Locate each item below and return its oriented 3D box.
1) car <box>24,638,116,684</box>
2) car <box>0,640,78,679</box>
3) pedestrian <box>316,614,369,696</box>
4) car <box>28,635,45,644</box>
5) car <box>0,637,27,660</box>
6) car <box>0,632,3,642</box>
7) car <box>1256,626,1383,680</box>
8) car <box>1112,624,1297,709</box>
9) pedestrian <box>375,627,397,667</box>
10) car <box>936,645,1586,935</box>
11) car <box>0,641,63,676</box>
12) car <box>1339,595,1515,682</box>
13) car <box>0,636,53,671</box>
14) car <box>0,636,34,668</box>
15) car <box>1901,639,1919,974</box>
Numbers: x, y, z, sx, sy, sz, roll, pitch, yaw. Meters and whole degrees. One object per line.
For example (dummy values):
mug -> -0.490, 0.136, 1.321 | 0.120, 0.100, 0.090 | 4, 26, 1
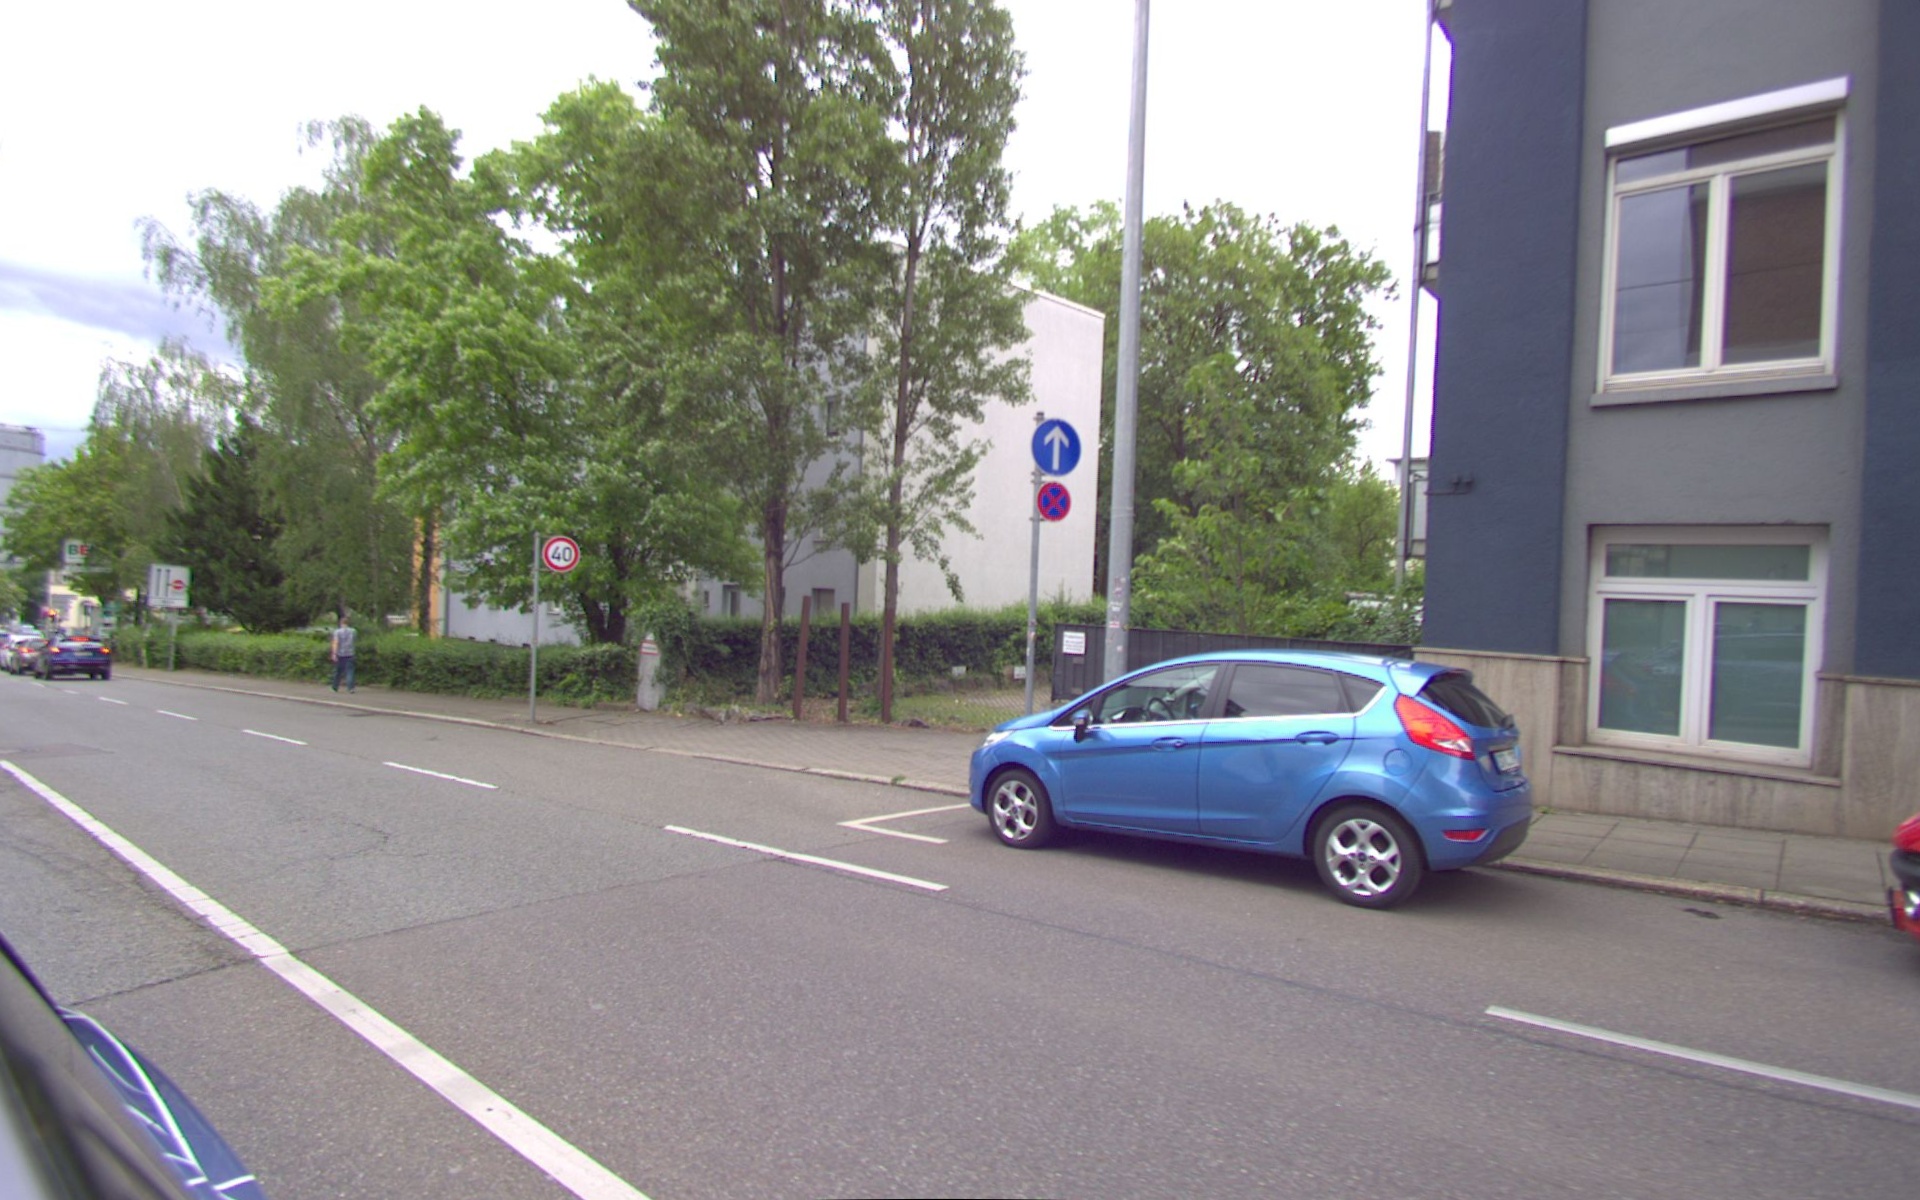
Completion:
car -> -30.738, 2.072, 34.916 | 4.309, 1.459, 1.819 | -2, -4, 42
car -> -36.447, 2.321, 40.001 | 4.309, 1.459, 1.819 | -2, -4, 42
pedestrian -> -15.429, 1.351, 25.276 | 0.867, 1.964, 0.873 | -2, 0, 41
car -> -175.560, 7.578, 192.396 | 1.967, 1.612, 4.009 | -1, -1, -36
car -> -55.661, 2.816, 58.930 | 1.780, 1.291, 4.240 | 5, -5, -43
car -> -151.127, 5.780, 157.964 | 1.967, 1.612, 4.009 | -1, -1, -36
car -> 13.244, 1.910, 37.382 | 3.983, 1.527, 1.813 | 5, 3, 41
car -> 6.604, 1.725, 27.572 | 4.418, 1.740, 1.974 | 4, 3, 39
pedestrian -> -26.281, 2.138, 46.325 | 0.714, 1.768, 0.794 | 2, -6, -44
car -> 1.871, 1.051, 7.037 | 3.987, 1.435, 1.696 | -2, -5, 41
car -> -41.238, 2.585, 44.782 | 4.073, 1.423, 1.819 | -2, -5, 43
car -> 18.447, 1.415, 40.163 | 5.788, 2.900, 2.386 | 5, 3, 40
car -> -45.978, 2.600, 49.528 | 4.499, 1.606, 1.929 | -2, -5, 44
car -> -50.877, 2.747, 53.934 | 4.415, 1.655, 1.929 | -2, -5, 44
car -> 5.969, 0.891, 3.441 | 3.989, 1.467, 1.695 | -2, -4, 43
